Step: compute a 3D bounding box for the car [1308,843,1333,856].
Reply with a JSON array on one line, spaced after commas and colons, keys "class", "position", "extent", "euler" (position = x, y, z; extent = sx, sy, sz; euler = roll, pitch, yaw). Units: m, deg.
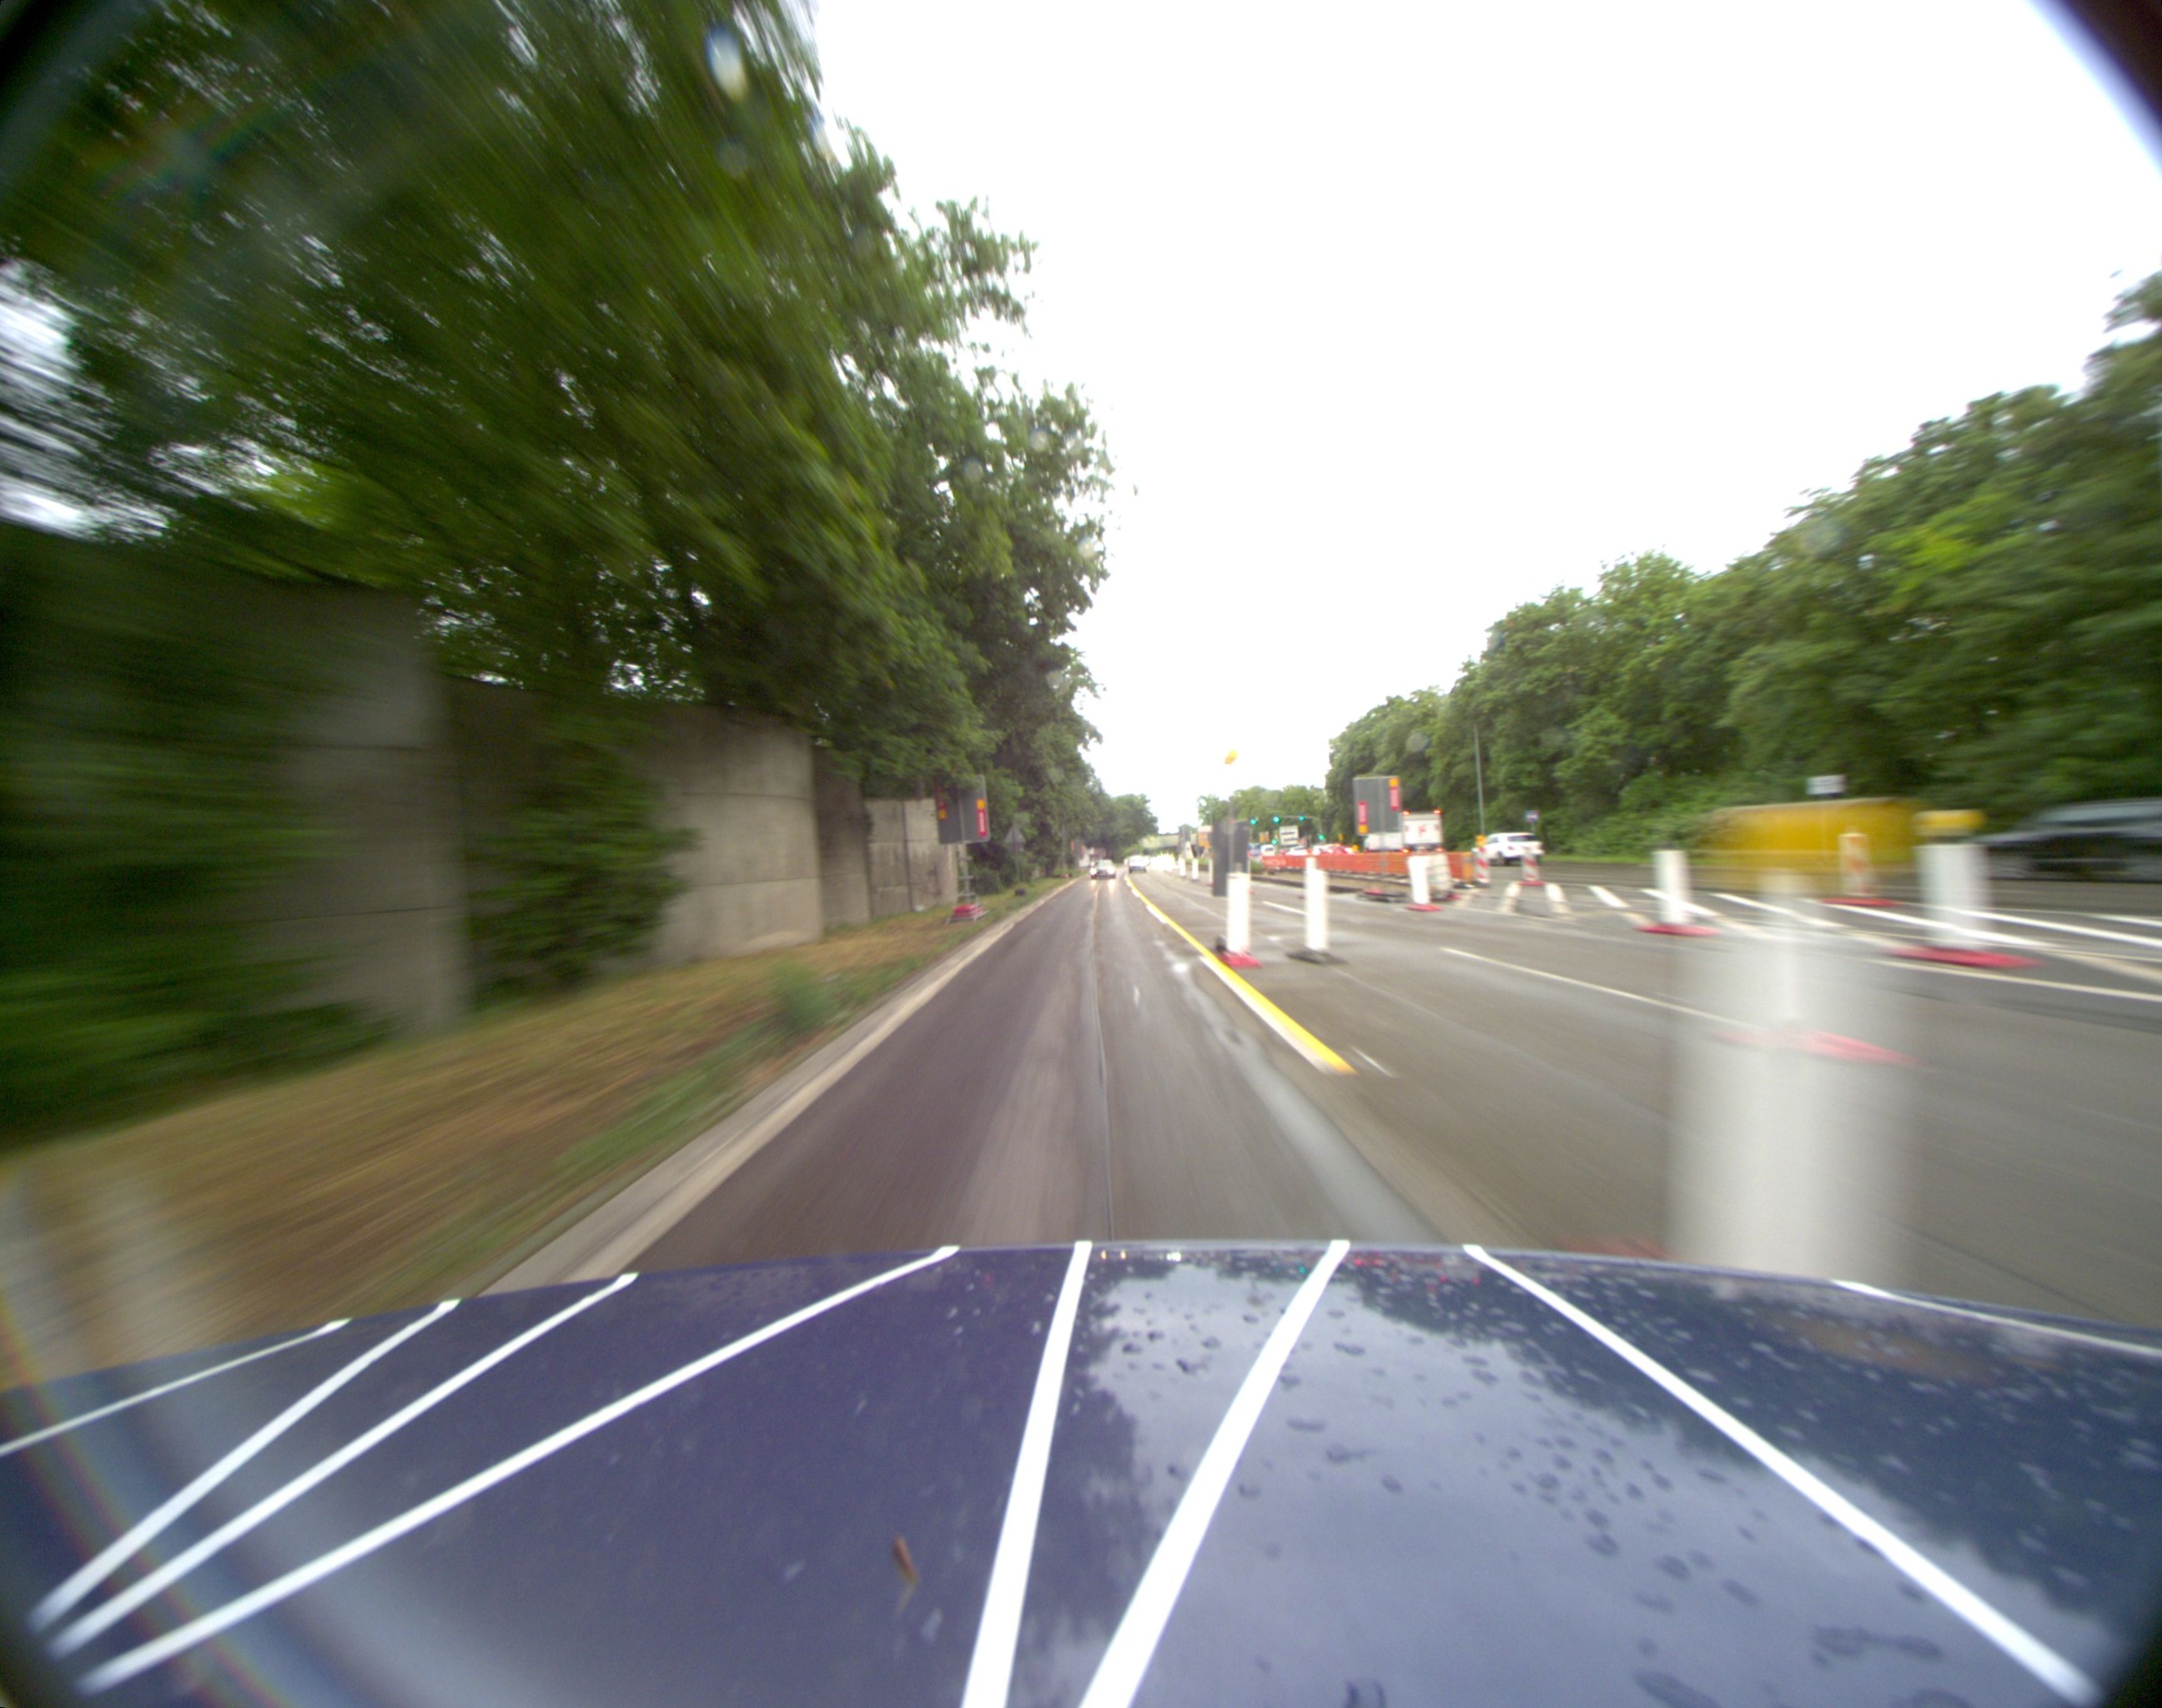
[{"class": "car", "position": [27.210, -0.481, 86.368], "extent": [1.795, 1.416, 3.897], "euler": [-3, 0, 3]}]

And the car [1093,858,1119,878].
[{"class": "car", "position": [1.902, 1.041, 59.291], "extent": [1.698, 1.393, 3.824], "euler": [-3, 0, -3]}]

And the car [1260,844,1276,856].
[{"class": "car", "position": [34.659, -0.749, 140.828], "extent": [2.039, 1.962, 4.993], "euler": [-4, -1, 7]}]

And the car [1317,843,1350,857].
[{"class": "car", "position": [21.908, -0.348, 66.031], "extent": [1.609, 1.145, 4.284], "euler": [-3, 0, 3]}]

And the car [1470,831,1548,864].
[{"class": "car", "position": [23.459, -0.336, 41.892], "extent": [1.848, 1.713, 4.720], "euler": [0, 0, 3]}]

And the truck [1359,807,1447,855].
[{"class": "truck", "position": [24.245, -1.603, 57.913], "extent": [2.802, 3.130, 10.150], "euler": [-3, 0, 4]}]

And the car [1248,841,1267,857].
[{"class": "car", "position": [29.458, -0.788, 127.182], "extent": [2.199, 2.376, 6.248], "euler": [-4, -1, 7]}]

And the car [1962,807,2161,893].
[{"class": "car", "position": [21.423, -0.103, 15.673], "extent": [1.639, 1.637, 4.200], "euler": [-2, 0, 1]}]

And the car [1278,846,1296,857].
[{"class": "car", "position": [30.236, -0.384, 111.480], "extent": [1.797, 1.514, 4.637], "euler": [-4, 0, 7]}]

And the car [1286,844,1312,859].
[{"class": "car", "position": [23.626, -0.279, 82.434], "extent": [1.839, 1.541, 4.041], "euler": [-3, 0, 3]}]

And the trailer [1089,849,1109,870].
[{"class": "trailer", "position": [3.204, 0.943, 135.525], "extent": [2.311, 3.568, 5.964], "euler": [-3, 0, 11]}]

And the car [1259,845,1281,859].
[{"class": "car", "position": [26.574, -0.249, 106.993], "extent": [1.918, 1.770, 4.835], "euler": [-4, -1, 3]}]

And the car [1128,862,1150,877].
[{"class": "car", "position": [5.863, 1.582, 76.699], "extent": [1.696, 1.300, 3.828], "euler": [-3, 0, 11]}]
